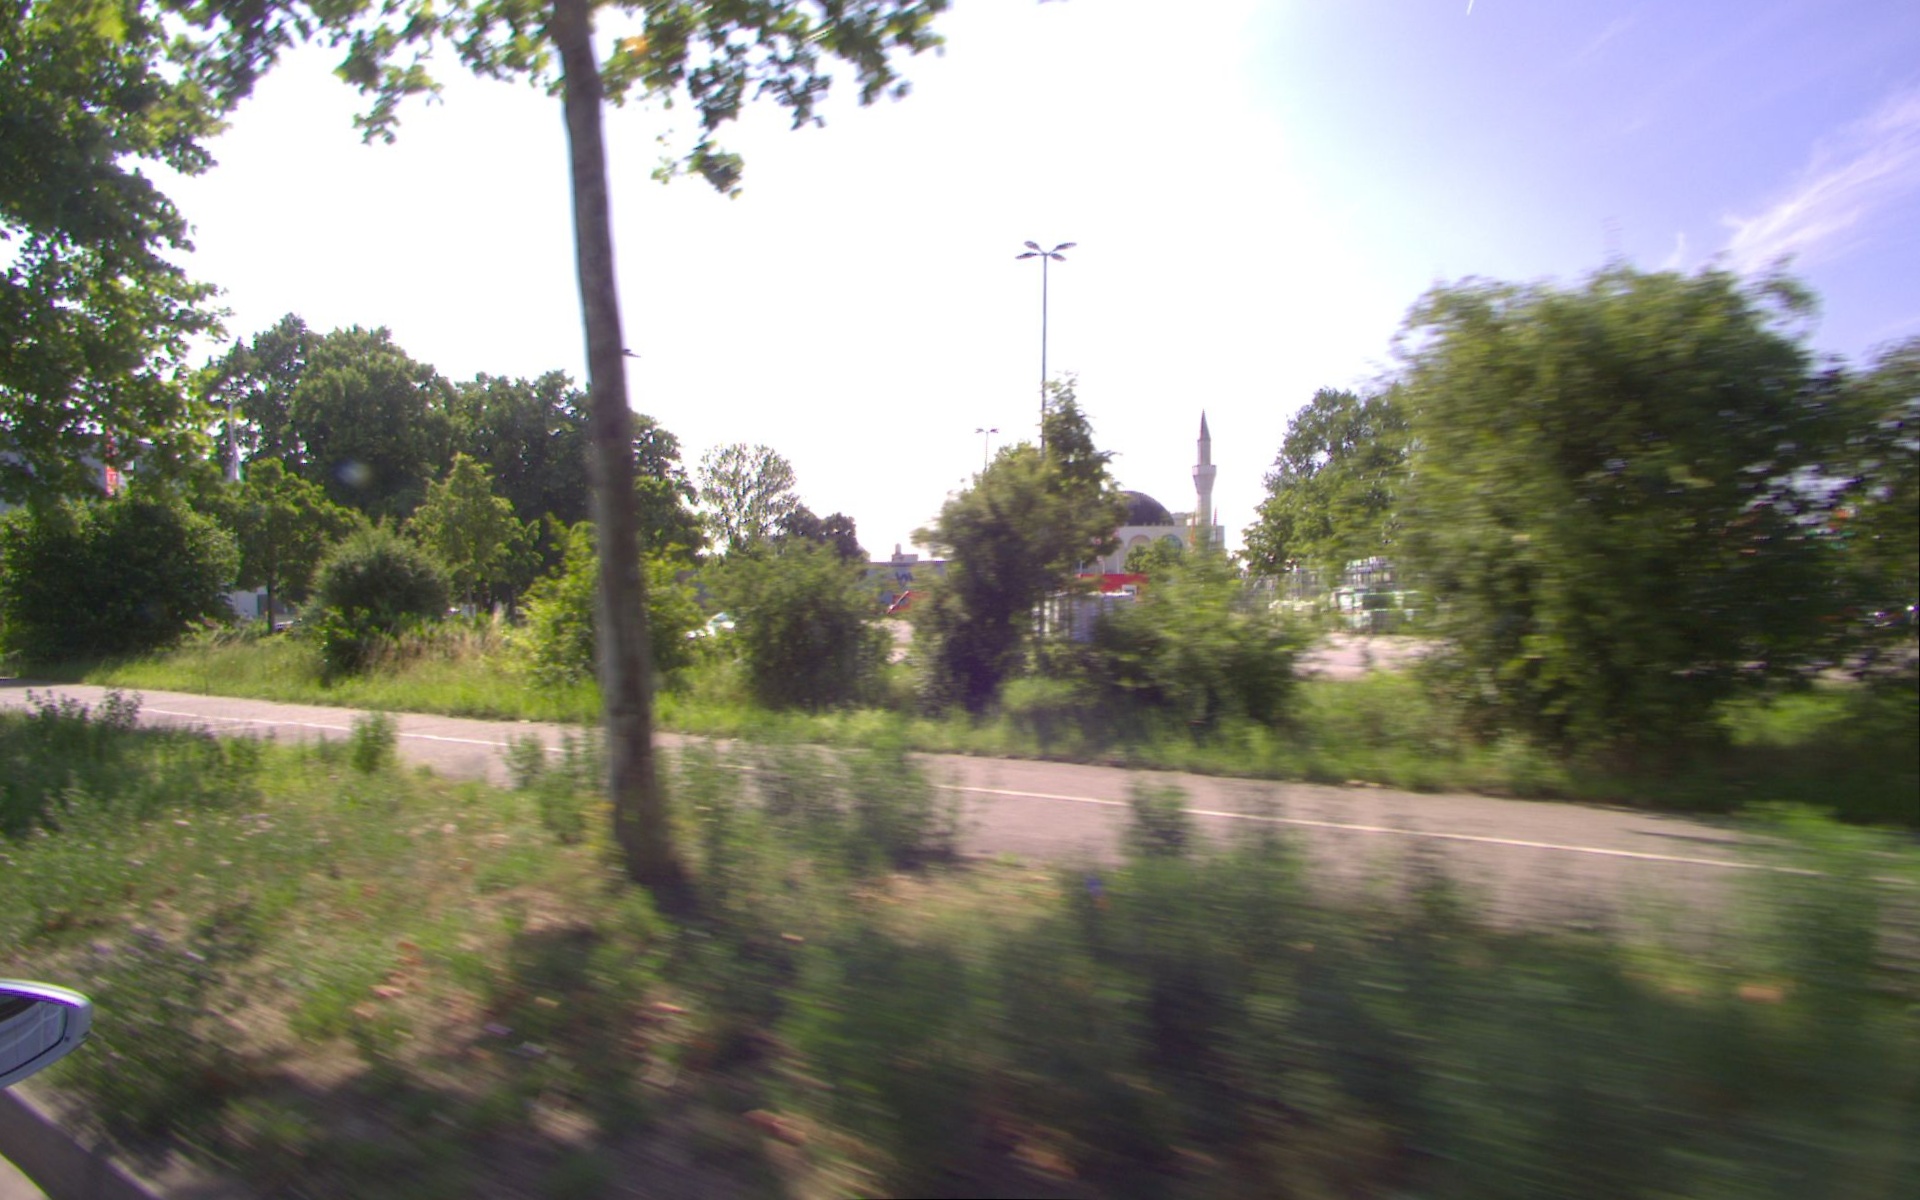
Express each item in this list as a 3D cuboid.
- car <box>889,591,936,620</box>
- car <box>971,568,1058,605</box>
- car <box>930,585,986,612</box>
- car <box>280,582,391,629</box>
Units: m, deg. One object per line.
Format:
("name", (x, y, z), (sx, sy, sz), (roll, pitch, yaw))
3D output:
("car", (-4.444, 0.546, 93.161), (4.317, 2.633, 1.999), (-1, 0, -4))
("car", (3.861, -0.928, 71.479), (6.059, 2.598, 2.000), (0, 0, -4))
("car", (-0.116, -0.089, 87.359), (4.713, 2.279, 2.000), (-1, 0, 5))
("car", (-28.072, 0.234, 45.120), (3.725, 2.040, 1.998), (0, 0, -11))
